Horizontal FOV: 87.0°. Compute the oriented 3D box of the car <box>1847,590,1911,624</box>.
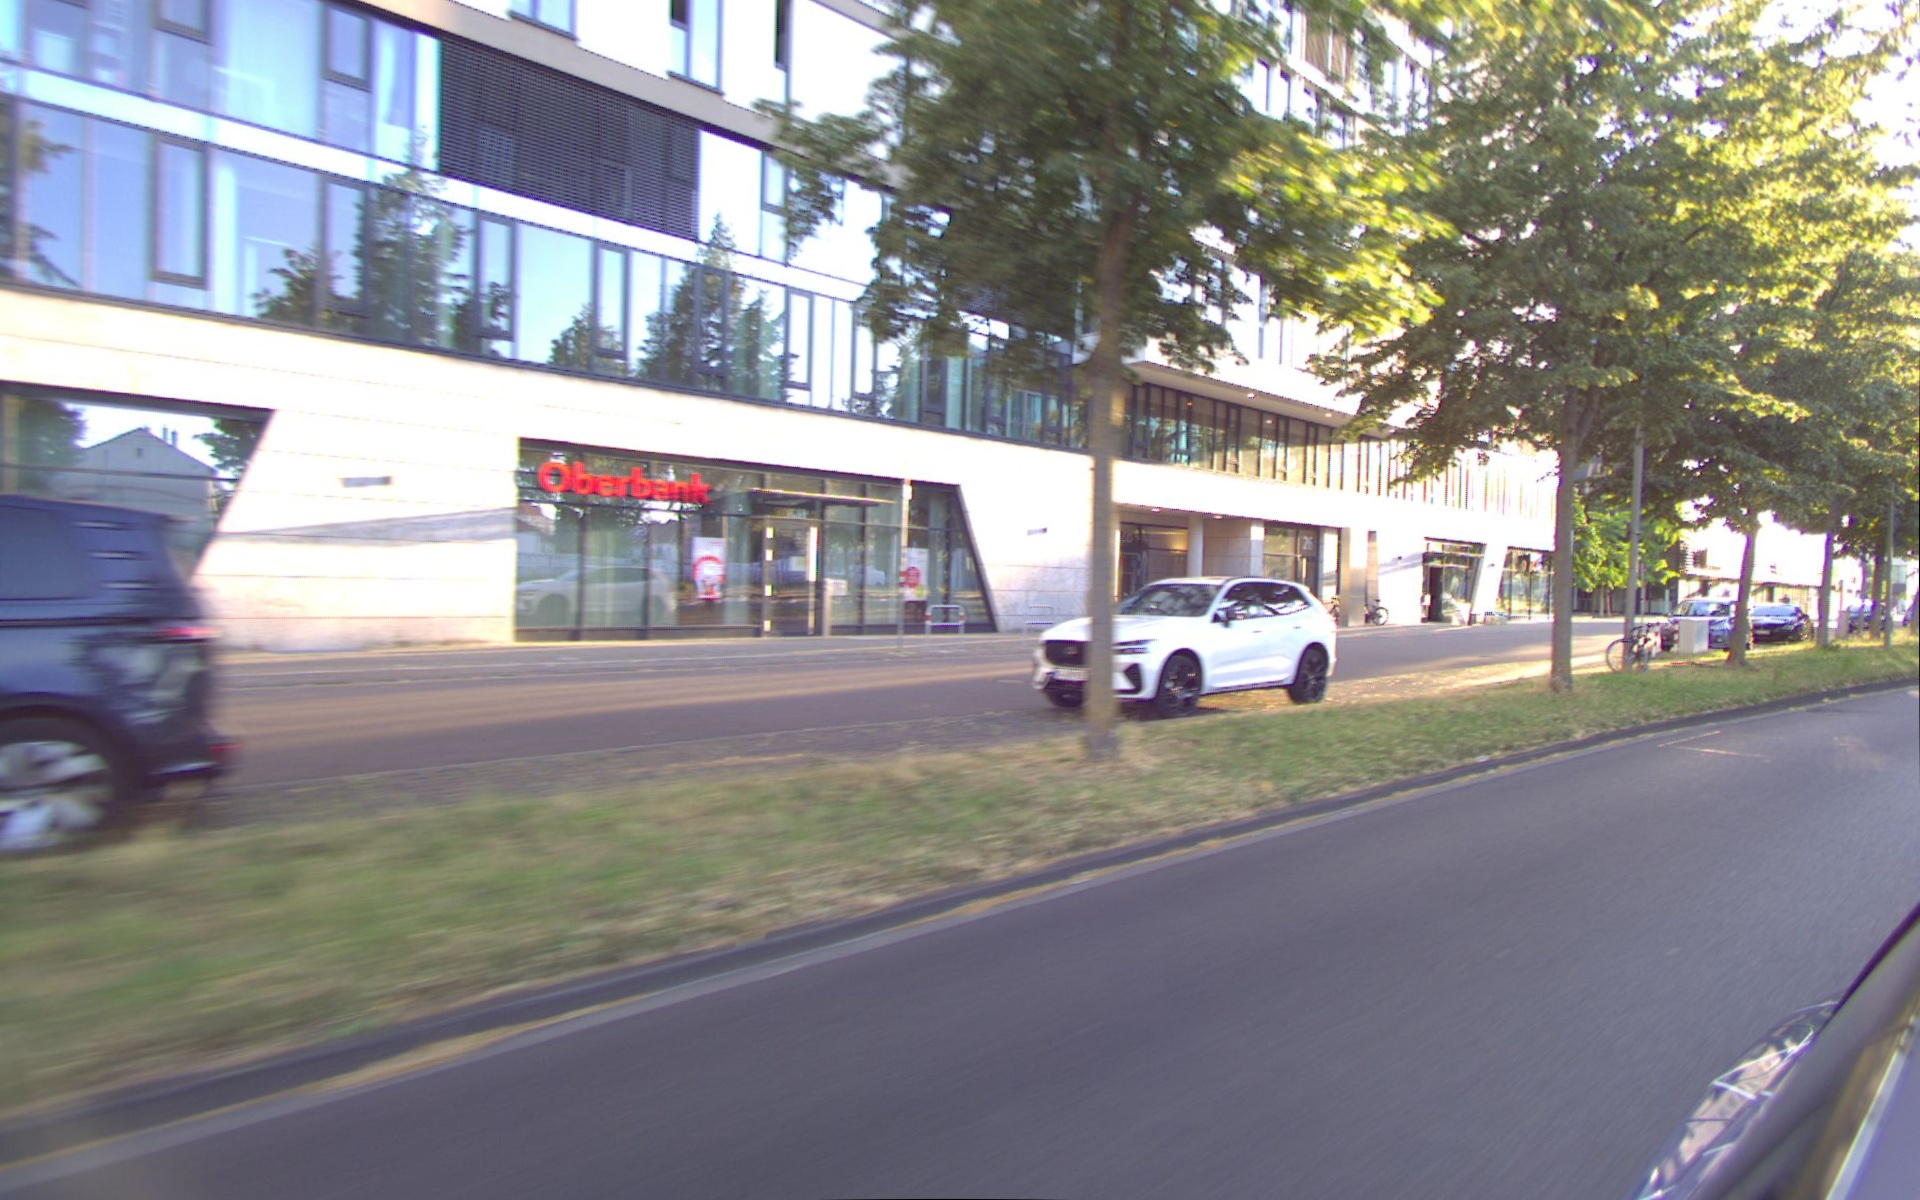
[{"bbox_3d":[43.827,0.349,48.254,3.930,1.513,1.783,0,-2,-41],"label":"car"}]

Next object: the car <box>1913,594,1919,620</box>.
[{"bbox_3d":[61.224,0.453,63.459,3.991,1.590,1.841,0,1,-42],"label":"car"}]

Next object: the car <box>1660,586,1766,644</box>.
[{"bbox_3d":[21.385,0.403,28.688,3.694,1.535,1.712,0,-1,-42],"label":"car"}]

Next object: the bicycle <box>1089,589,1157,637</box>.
[{"bbox_3d":[3.744,0.288,23.184,1.774,1.052,0.471,0,2,-40],"label":"bicycle"}]

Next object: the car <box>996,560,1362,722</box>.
[{"bbox_3d":[2.906,0.394,12.792,4.792,1.663,1.998,0,2,-40],"label":"car"}]

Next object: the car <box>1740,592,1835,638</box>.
[{"bbox_3d":[28.577,0.475,34.902,4.752,1.384,1.855,0,3,-43],"label":"car"}]

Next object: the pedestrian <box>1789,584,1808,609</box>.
[{"bbox_3d":[62.880,-0.273,75.901,0.897,1.819,0.898,1,1,-42],"label":"pedestrian"}]

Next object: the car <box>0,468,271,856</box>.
[{"bbox_3d":[-6.190,0.271,4.810,4.586,1.875,1.996,0,2,-43],"label":"car"}]

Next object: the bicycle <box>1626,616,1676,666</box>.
[{"bbox_3d":[12.381,0.714,18.121,1.524,0.833,0.316,0,2,-40],"label":"bicycle"}]

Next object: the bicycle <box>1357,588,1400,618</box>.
[{"bbox_3d":[14.959,0.096,36.183,1.364,1.040,0.456,1,1,-14],"label":"bicycle"}]

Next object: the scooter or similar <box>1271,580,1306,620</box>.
[{"bbox_3d":[10.510,0.000,32.338,1.207,1.226,0.473,0,1,-40],"label":"scooter or similar"}]
